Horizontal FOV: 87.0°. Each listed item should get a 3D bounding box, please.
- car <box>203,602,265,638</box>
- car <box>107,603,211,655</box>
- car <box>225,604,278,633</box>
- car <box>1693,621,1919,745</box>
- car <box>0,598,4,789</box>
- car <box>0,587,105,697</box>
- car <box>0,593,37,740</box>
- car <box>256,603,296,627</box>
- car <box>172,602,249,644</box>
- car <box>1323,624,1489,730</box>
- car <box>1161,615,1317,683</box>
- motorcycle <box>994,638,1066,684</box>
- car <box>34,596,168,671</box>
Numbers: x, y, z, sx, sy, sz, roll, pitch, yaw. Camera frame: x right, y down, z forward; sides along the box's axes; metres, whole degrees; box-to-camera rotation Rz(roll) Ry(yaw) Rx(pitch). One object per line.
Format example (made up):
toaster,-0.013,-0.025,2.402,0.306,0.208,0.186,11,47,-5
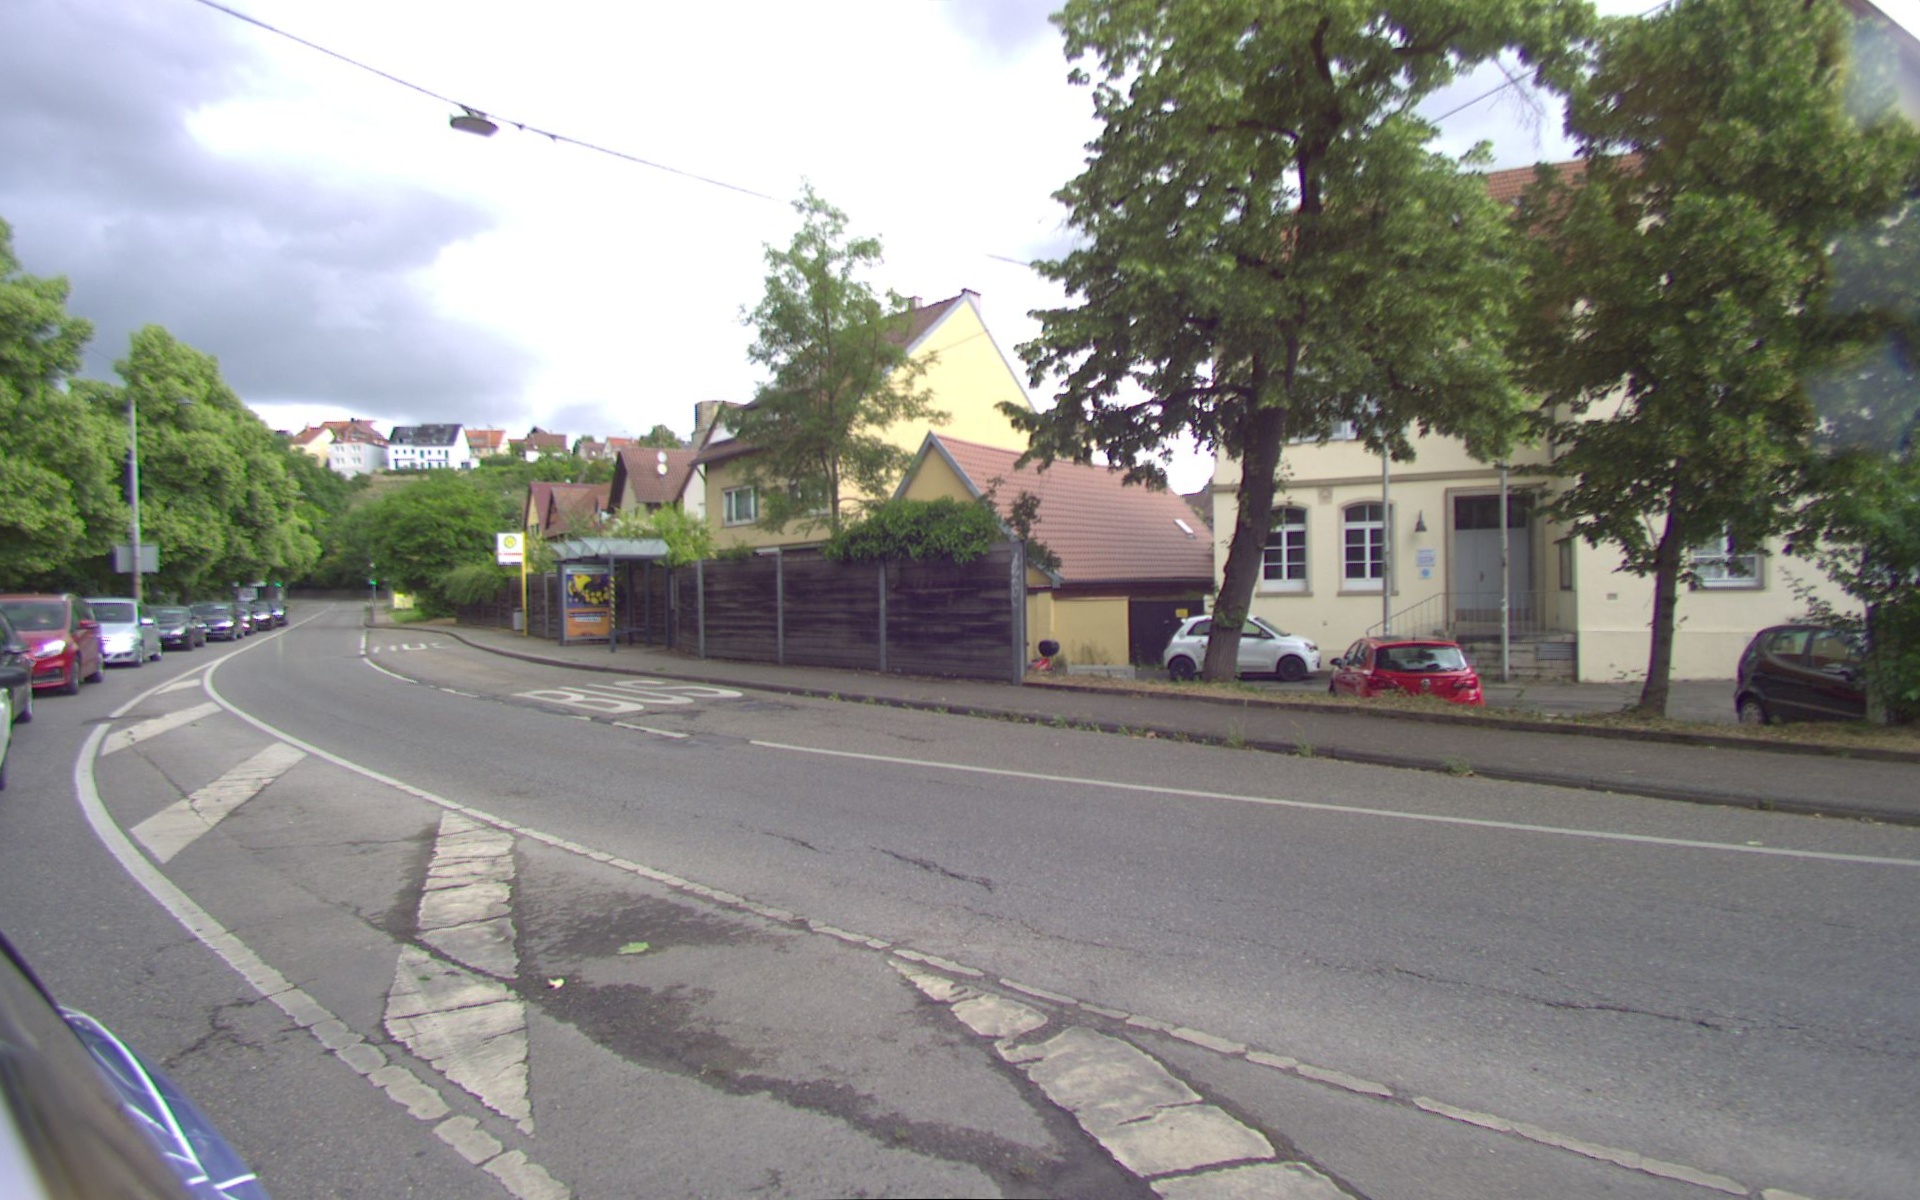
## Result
car,-30.780,0.817,43.000,1.679,1.457,3.879,0,0,-28
car,-24.602,0.837,31.225,1.823,1.468,4.013,0,0,-28
car,-33.372,0.830,47.736,1.617,1.278,3.637,0,0,-28
car,11.352,0.974,13.144,1.466,1.320,3.393,0,0,6
car,-7.522,0.750,6.716,1.604,1.519,4.005,0,0,-42
car,-15.691,0.633,17.021,1.648,1.654,4.111,0,0,-35
car,-11.894,0.698,11.652,1.704,1.532,4.007,0,0,-40
car,-36.490,0.783,54.026,1.396,1.259,3.306,0,0,-28
car,-27.504,0.796,37.238,1.669,1.422,3.995,0,0,-28
car,6.889,1.114,15.990,1.582,1.363,3.618,0,0,10
car,6.629,1.113,24.000,3.456,1.503,1.643,0,0,20
motorcycle,1.389,1.183,19.875,1.559,0.830,0.419,0,0,-41
car,-20.075,0.712,23.817,1.754,1.580,4.012,0,0,-31
